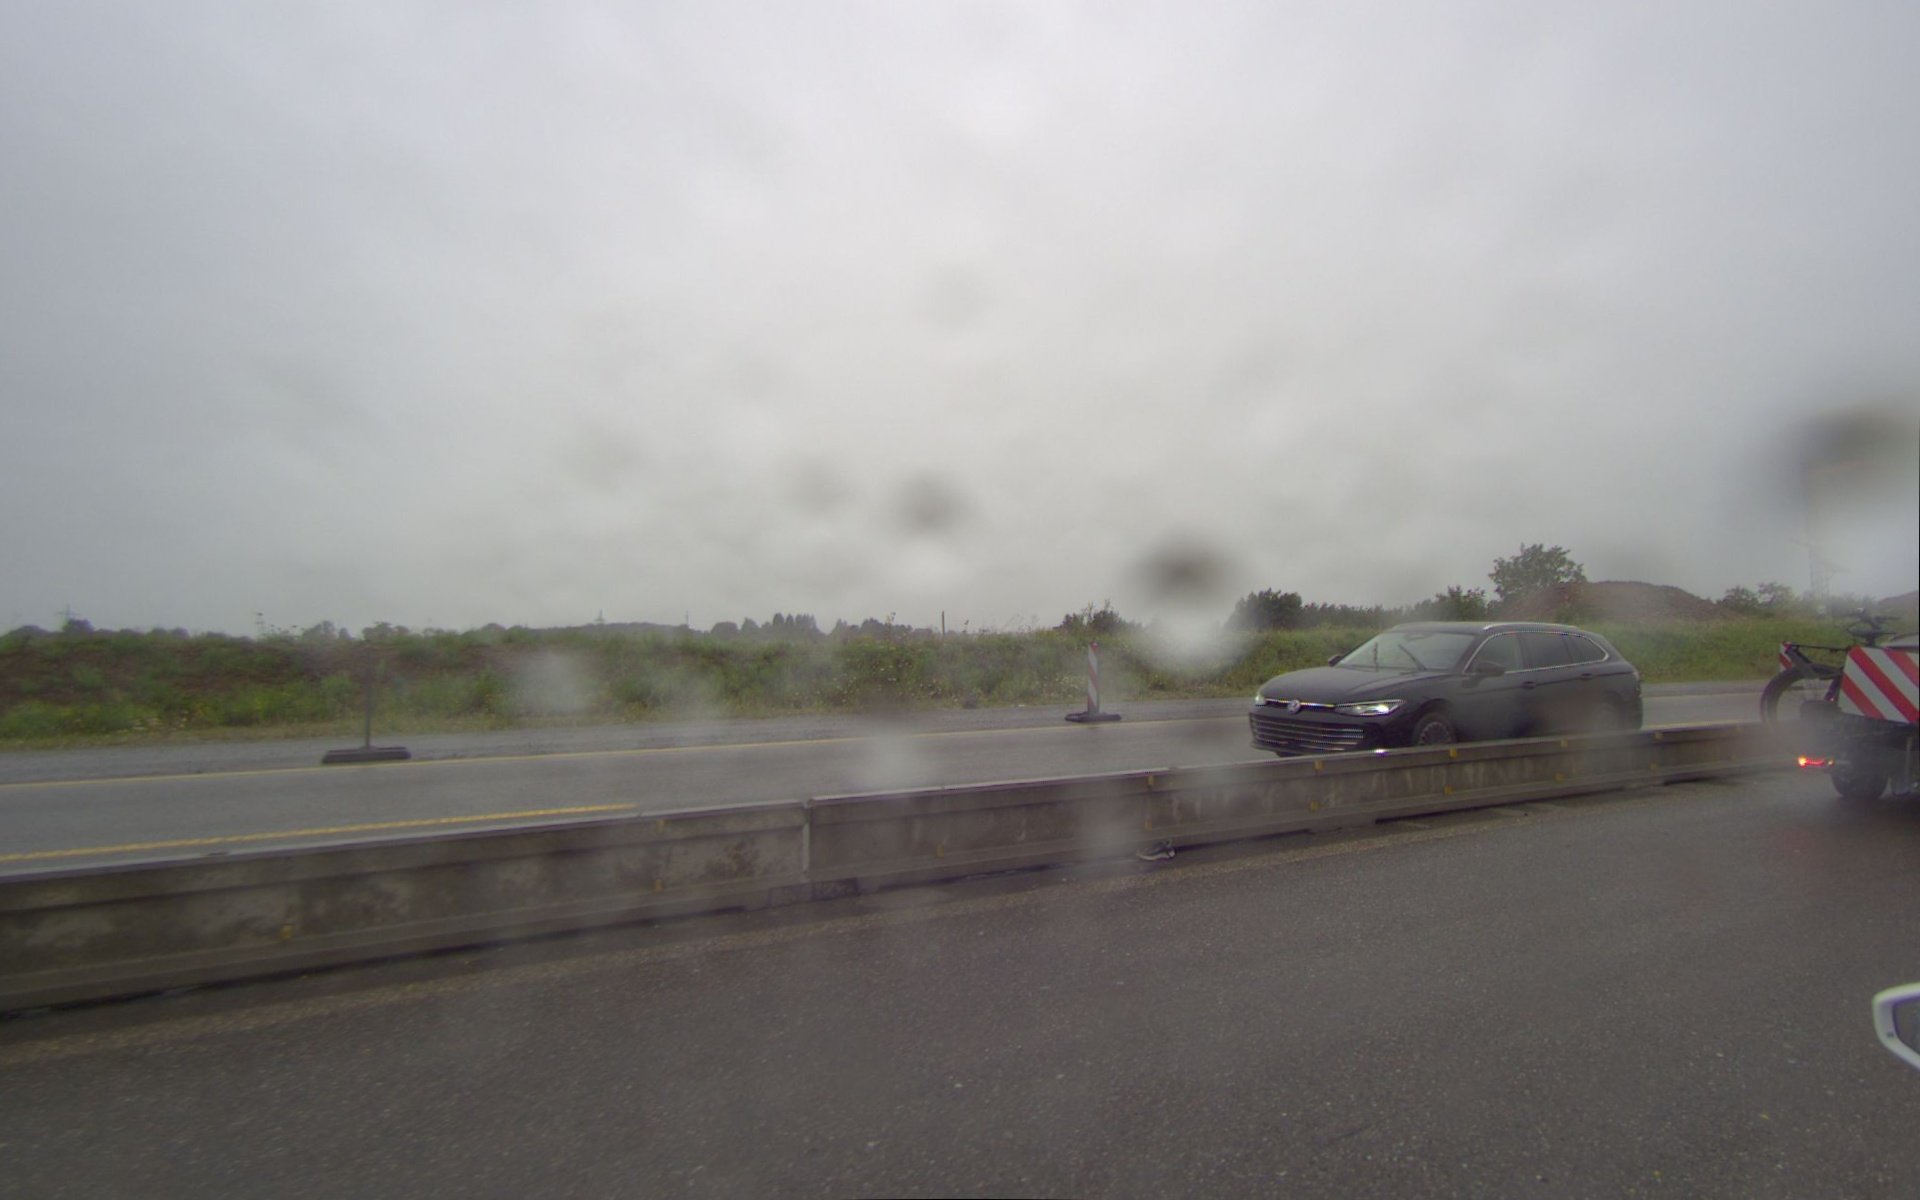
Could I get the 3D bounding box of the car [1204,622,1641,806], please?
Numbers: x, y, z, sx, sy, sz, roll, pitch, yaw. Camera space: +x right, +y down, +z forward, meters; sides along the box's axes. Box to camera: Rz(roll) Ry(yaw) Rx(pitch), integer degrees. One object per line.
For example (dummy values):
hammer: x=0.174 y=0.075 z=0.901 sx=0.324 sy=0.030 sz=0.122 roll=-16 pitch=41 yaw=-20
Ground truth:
car: x=4.911 y=1.061 z=10.506 sx=4.527 sy=1.516 sz=1.885 roll=2 pitch=-1 yaw=-30

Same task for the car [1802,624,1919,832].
car: x=9.566 y=0.953 z=8.629 sx=5.560 sy=1.482 sz=1.727 roll=0 pitch=0 yaw=-29
